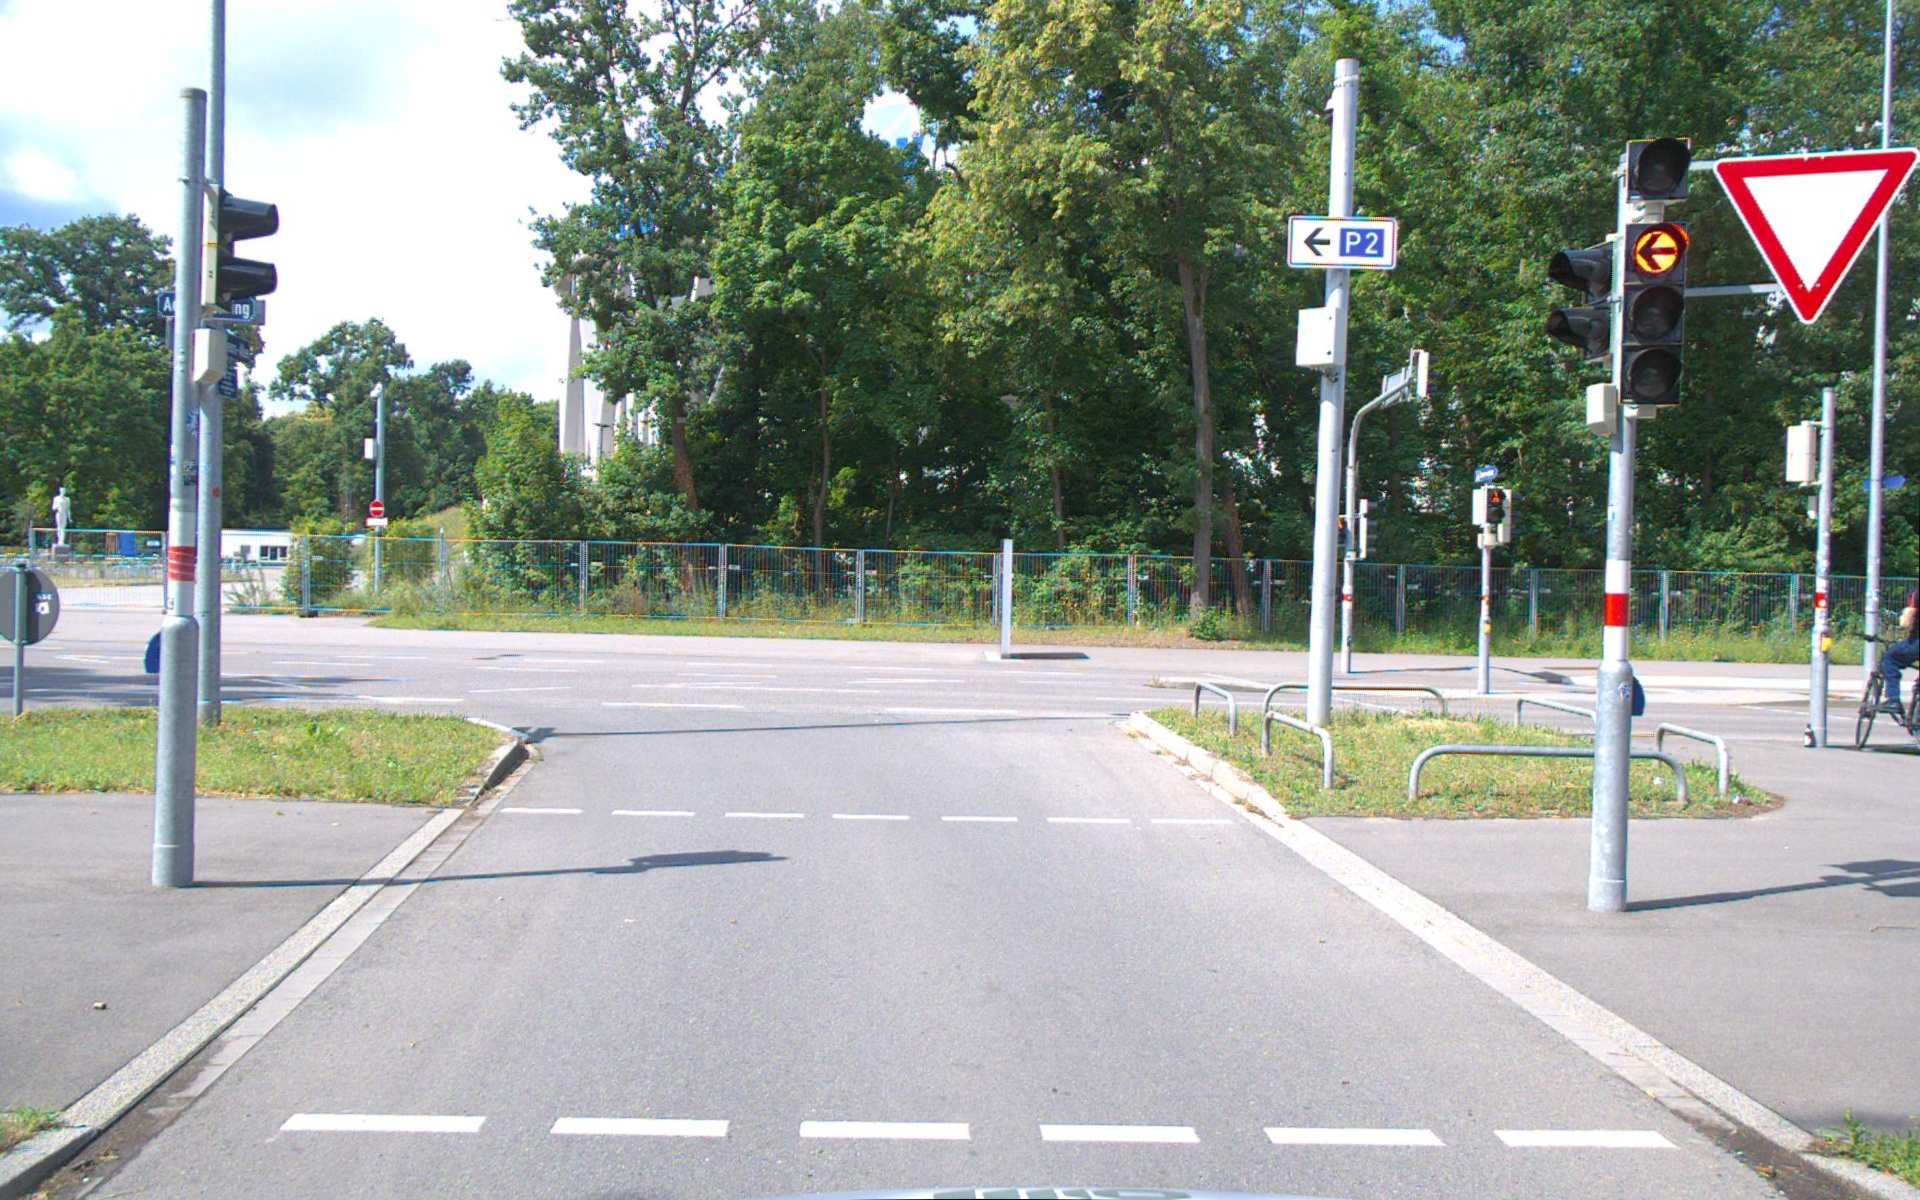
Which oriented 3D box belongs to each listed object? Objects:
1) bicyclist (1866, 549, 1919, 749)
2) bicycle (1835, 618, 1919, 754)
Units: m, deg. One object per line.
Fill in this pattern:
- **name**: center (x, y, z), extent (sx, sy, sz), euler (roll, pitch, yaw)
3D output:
- **bicyclist**: center (9.230, 0.460, 15.620), extent (0.866, 1.829, 0.979), euler (1, -1, 7)
- **bicycle**: center (9.240, 0.795, 15.901), extent (0.861, 1.227, 1.899), euler (1, 0, 8)
